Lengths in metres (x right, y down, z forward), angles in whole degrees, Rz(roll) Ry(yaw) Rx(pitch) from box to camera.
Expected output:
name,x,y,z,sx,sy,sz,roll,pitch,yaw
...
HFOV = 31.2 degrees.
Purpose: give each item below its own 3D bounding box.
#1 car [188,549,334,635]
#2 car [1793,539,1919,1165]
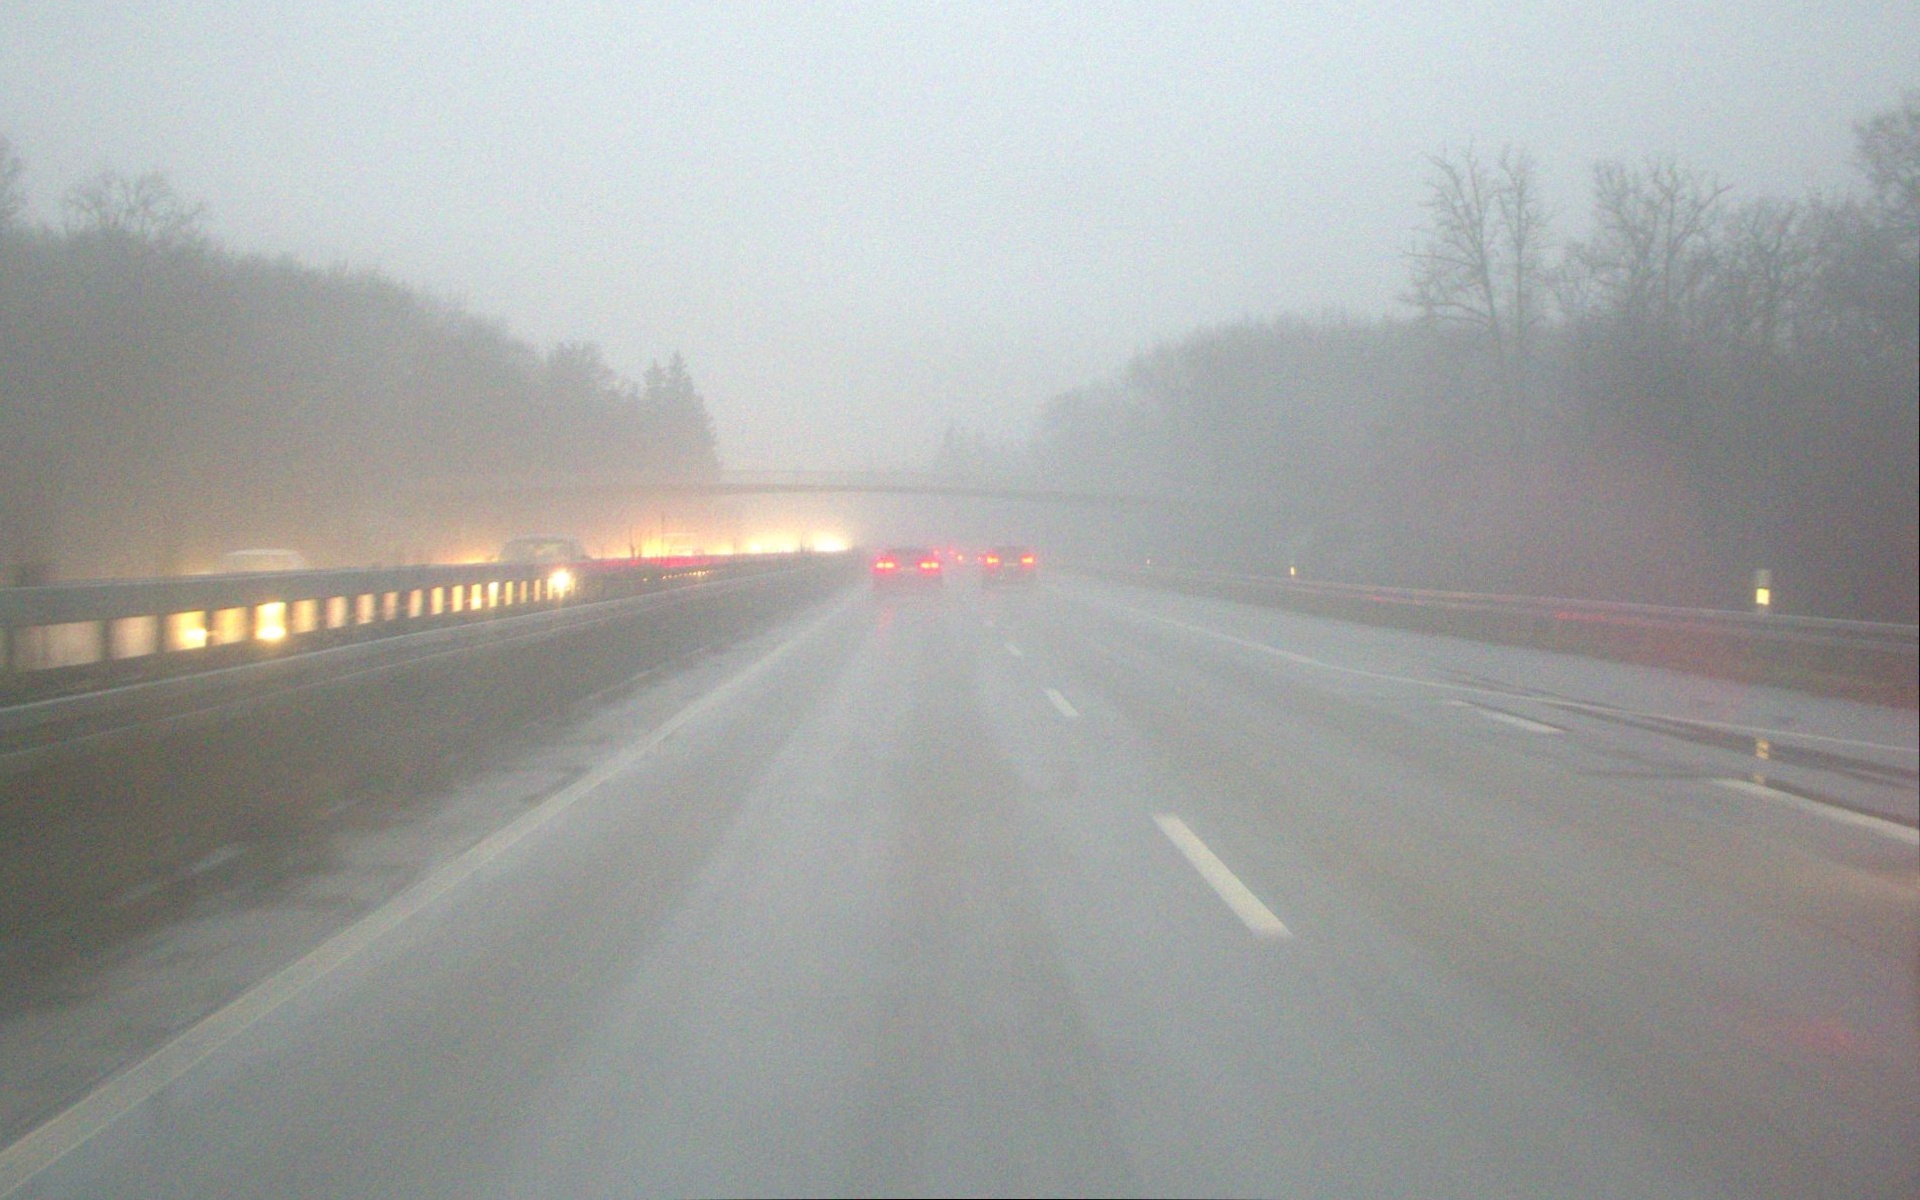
name,x,y,z,sx,sy,sz,roll,pitch,yaw
car,-12.685,-0.170,62.616,1.727,1.455,4.417,2,1,0
car,3.222,0.621,7.604,1.786,1.511,3.811,0,1,-1
